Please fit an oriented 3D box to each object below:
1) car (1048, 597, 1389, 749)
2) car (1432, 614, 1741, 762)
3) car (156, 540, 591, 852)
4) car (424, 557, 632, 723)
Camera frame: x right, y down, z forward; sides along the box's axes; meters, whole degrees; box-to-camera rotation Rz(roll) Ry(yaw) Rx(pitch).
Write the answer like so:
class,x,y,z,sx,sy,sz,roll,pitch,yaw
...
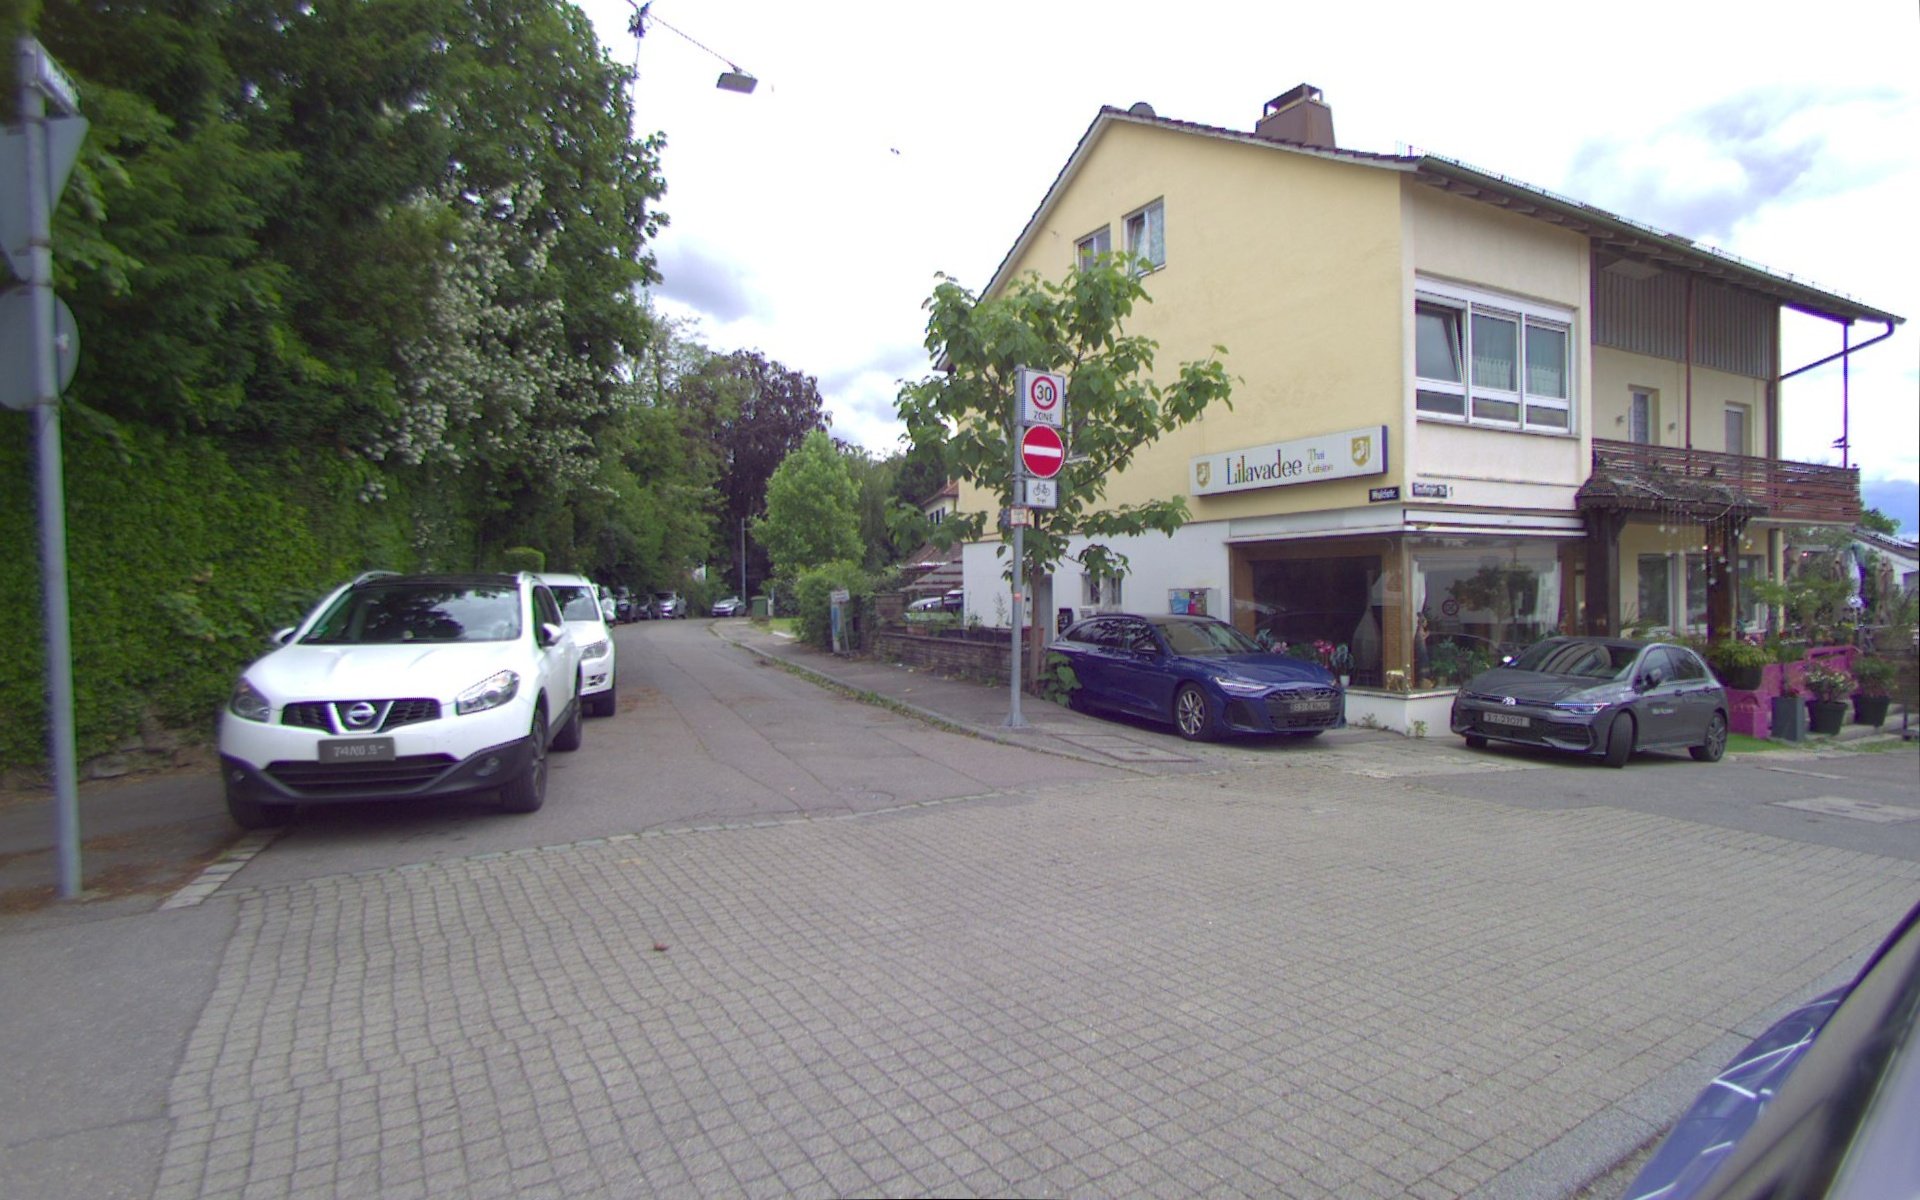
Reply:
class,x,y,z,sx,sy,sz,roll,pitch,yaw
car,3.044,0.796,12.885,1.892,1.548,4.236,3,-1,-25
car,7.730,1.041,12.398,3.808,1.512,1.875,4,-3,-35
car,-3.920,0.488,7.584,1.829,1.660,4.076,0,1,-15
car,-5.098,0.379,12.464,1.829,1.681,4.076,0,0,-16
